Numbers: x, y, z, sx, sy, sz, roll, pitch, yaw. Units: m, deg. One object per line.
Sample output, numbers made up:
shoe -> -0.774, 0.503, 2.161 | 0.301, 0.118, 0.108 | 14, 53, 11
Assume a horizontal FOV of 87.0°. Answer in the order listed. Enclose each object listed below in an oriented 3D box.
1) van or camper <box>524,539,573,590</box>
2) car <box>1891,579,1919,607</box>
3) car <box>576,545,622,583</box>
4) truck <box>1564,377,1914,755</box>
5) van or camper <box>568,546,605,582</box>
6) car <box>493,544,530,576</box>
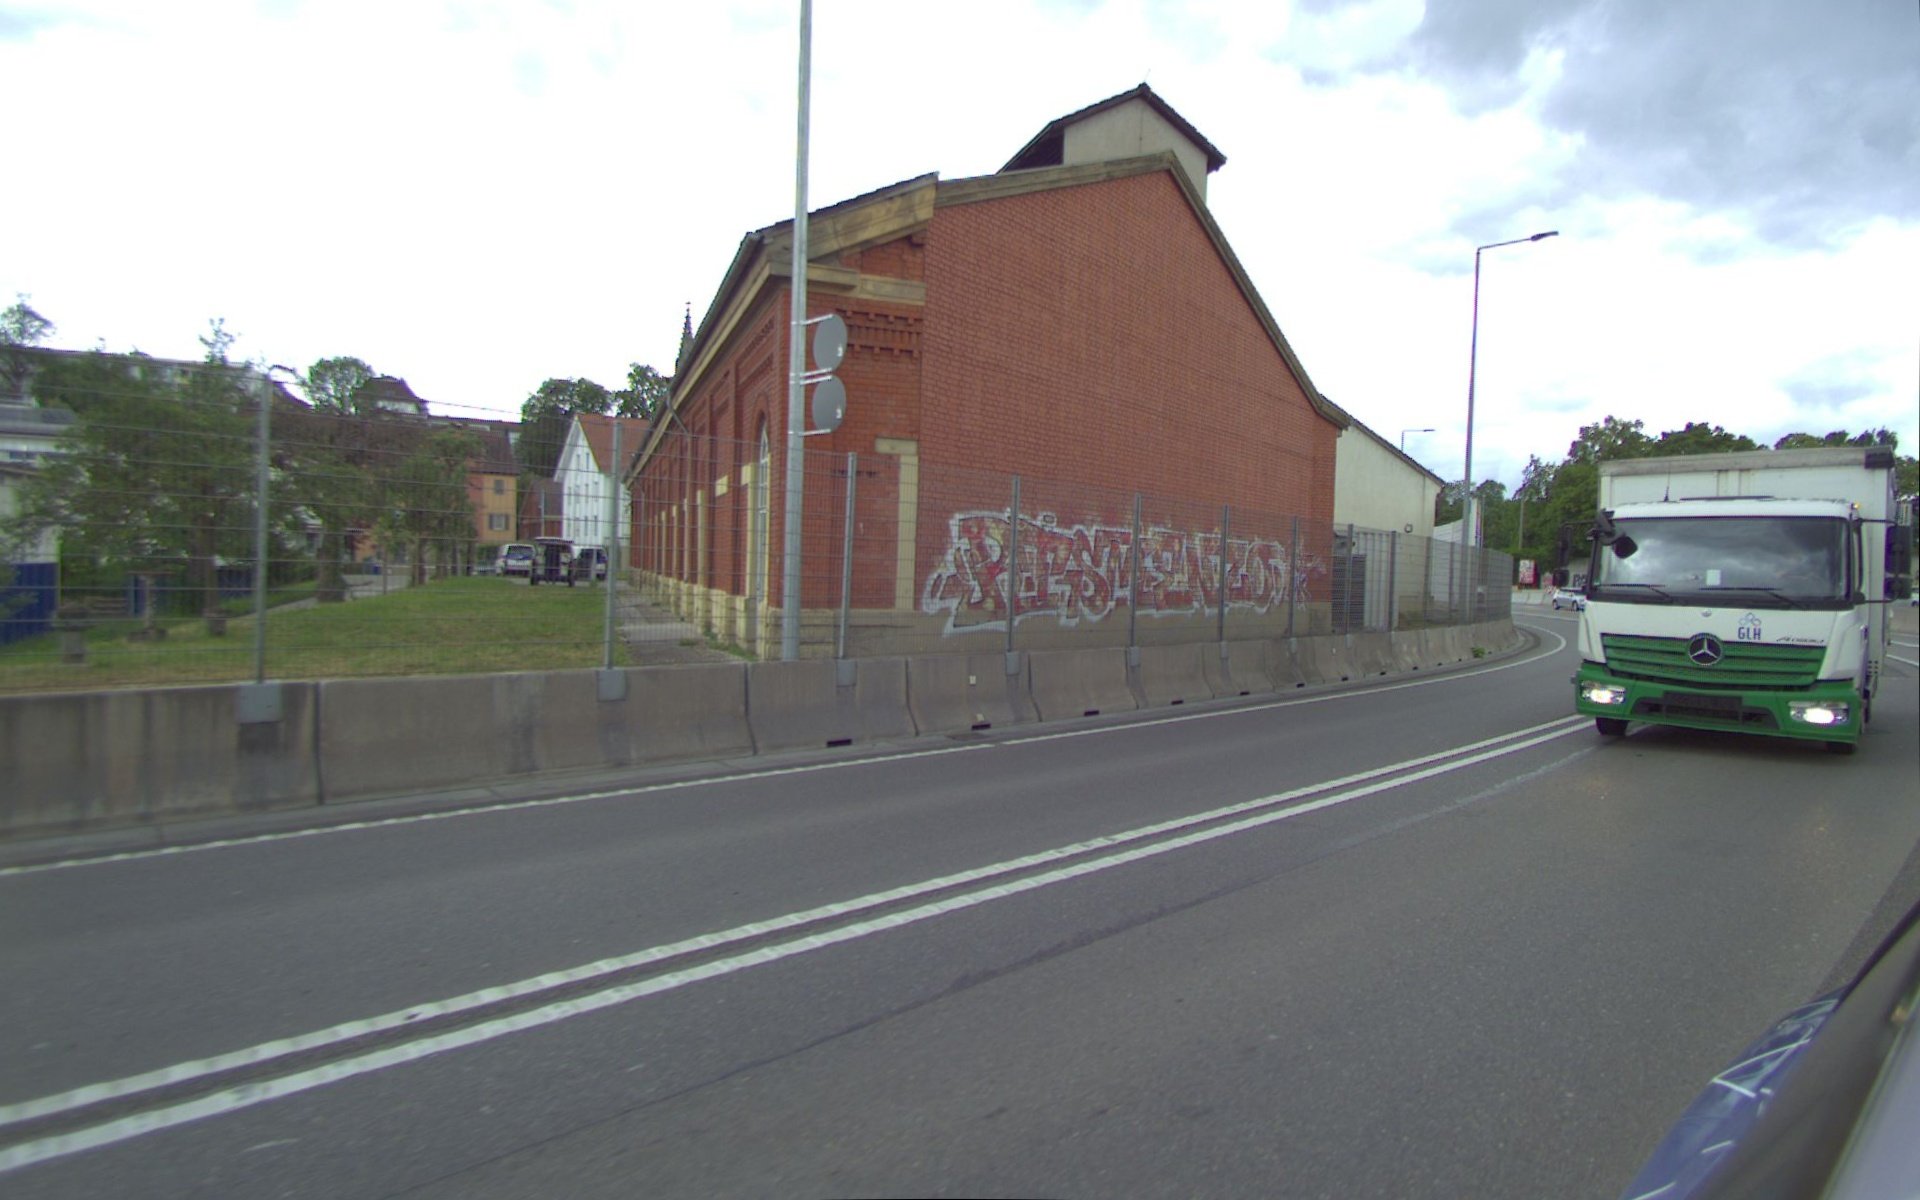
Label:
van or camper -> -18.752, -1.591, 46.082 | 1.958, 2.172, 4.580 | 0, 1, -23
car -> 50.027, -0.368, 51.873 | 1.778, 1.439, 4.617 | 0, 1, 21
car -> -17.792, -1.756, 49.739 | 1.958, 1.805, 4.009 | 0, 1, -22
truck -> 9.799, -0.319, 12.350 | 2.630, 3.280, 7.298 | 0, 0, 44
van or camper -> -22.041, -2.111, 59.613 | 1.865, 2.039, 4.507 | 0, 1, -22
car -> -26.862, -2.372, 60.689 | 1.958, 1.805, 4.008 | 0, 1, -23
